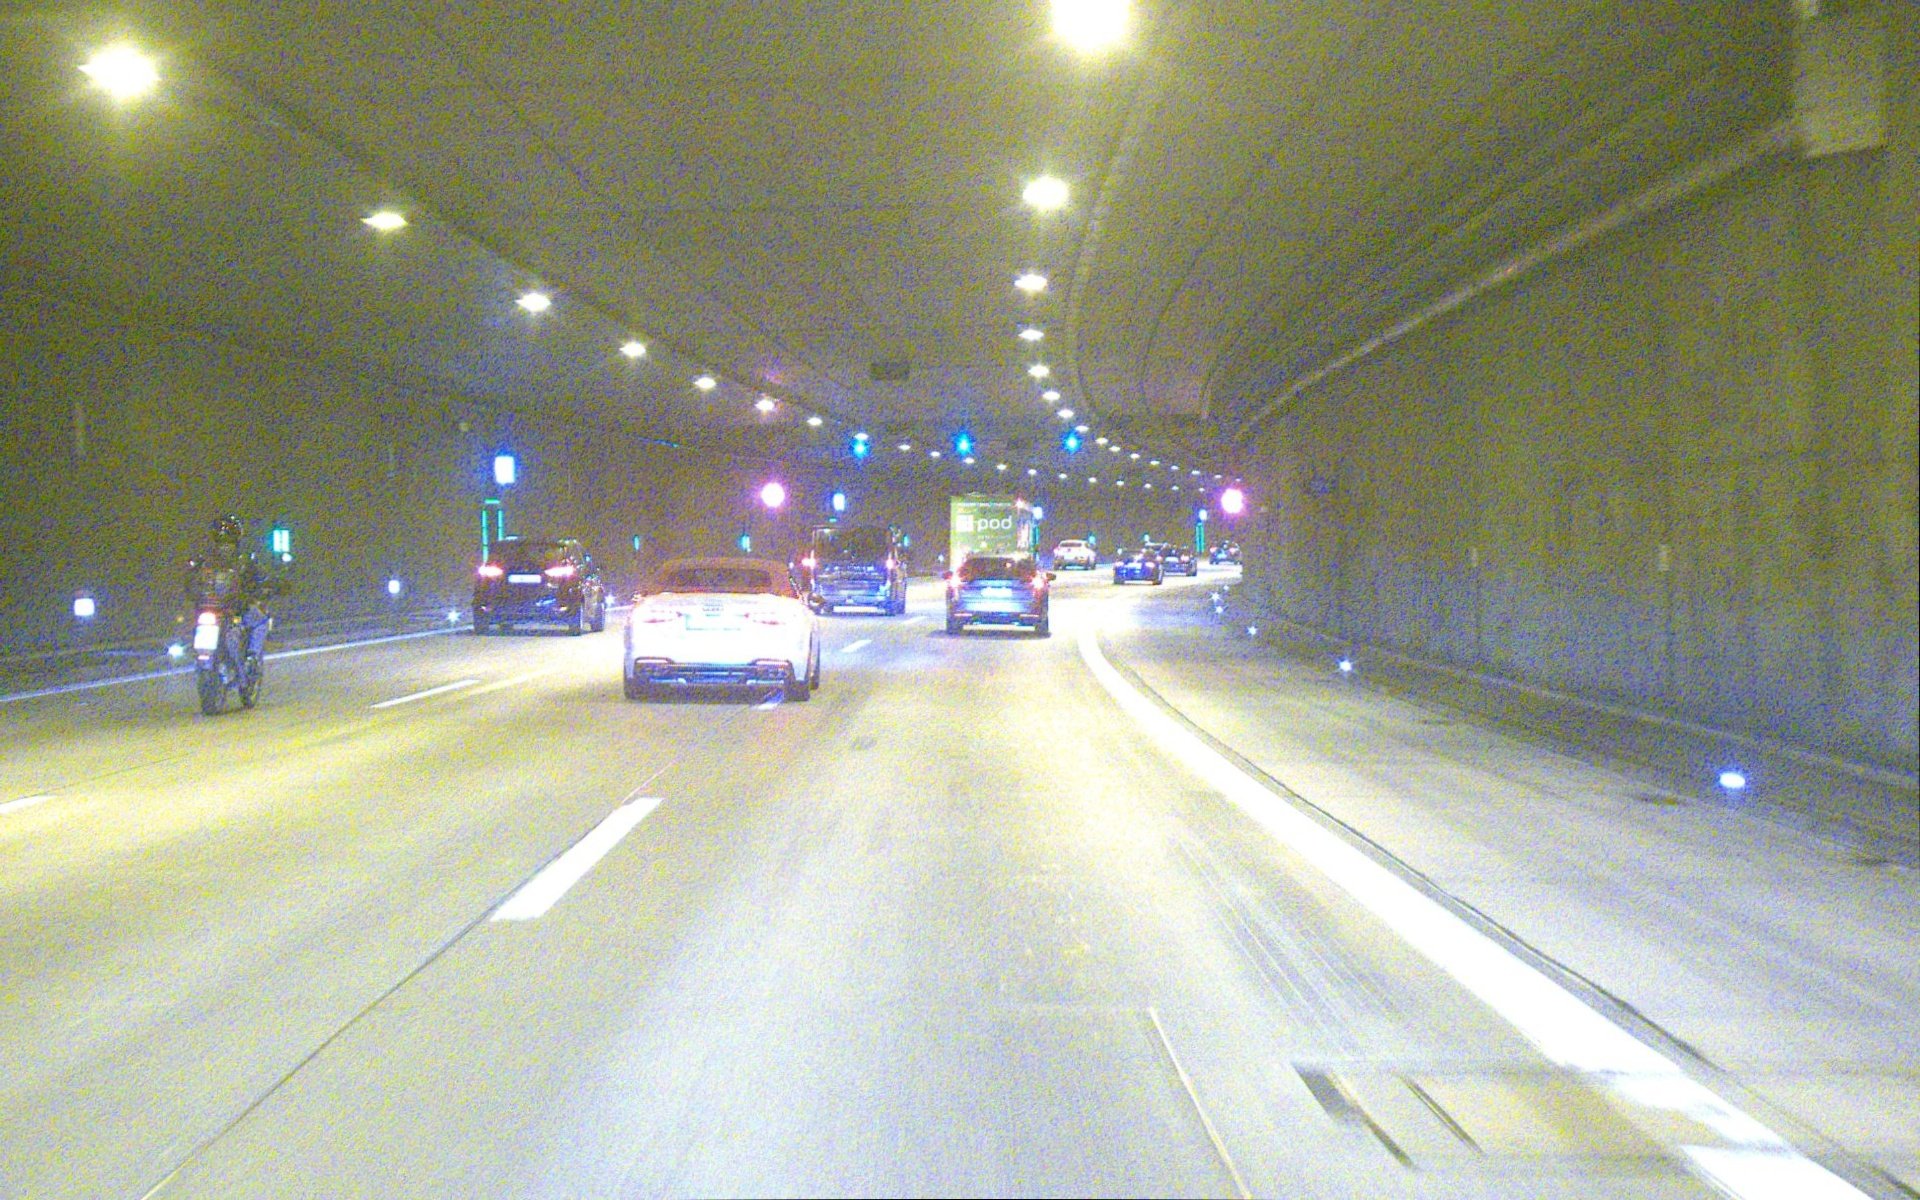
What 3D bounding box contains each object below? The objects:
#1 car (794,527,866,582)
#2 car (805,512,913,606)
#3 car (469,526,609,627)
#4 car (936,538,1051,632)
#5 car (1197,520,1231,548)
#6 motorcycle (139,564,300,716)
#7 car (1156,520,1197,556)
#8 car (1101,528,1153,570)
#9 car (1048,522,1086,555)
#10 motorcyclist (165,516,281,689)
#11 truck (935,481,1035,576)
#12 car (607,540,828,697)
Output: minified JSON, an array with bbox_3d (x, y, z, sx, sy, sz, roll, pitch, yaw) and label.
[{"bbox_3d":[-4.061,-1.438,108.094,1.801,1.678,4.000,1,1,5],"label":"car"},{"bbox_3d":[-2.170,-0.912,75.063,1.994,1.965,4.000,1,1,3],"label":"car"},{"bbox_3d":[-6.914,-0.412,56.771,1.785,1.593,3.801,-1,1,1],"label":"car"},{"bbox_3d":[0.567,-0.293,61.245,1.839,1.596,4.001,-1,1,-2],"label":"car"},{"bbox_3d":[15.819,-4.121,214.265,1.833,1.685,4.000,-2,1,2],"label":"car"},{"bbox_3d":[-6.381,0.318,29.766,0.845,1.241,2.604,0,1,0],"label":"motorcycle"},{"bbox_3d":[10.255,-2.943,163.068,1.859,1.660,4.000,-2,1,4],"label":"car"},{"bbox_3d":[6.522,-2.024,134.567,1.844,1.562,4.000,-2,1,1],"label":"car"},{"bbox_3d":[5.617,-3.229,180.285,1.830,1.612,4.000,-2,1,4],"label":"car"},{"bbox_3d":[-6.380,0.013,29.795,0.839,1.472,0.821,1,1,-1],"label":"motorcyclist"},{"bbox_3d":[0.957,-2.614,122.465,3.083,3.102,10.029,-3,2,2],"label":"truck"},{"bbox_3d":[-2.374,0.137,34.584,1.993,1.478,4.000,0,1,-1],"label":"car"}]
